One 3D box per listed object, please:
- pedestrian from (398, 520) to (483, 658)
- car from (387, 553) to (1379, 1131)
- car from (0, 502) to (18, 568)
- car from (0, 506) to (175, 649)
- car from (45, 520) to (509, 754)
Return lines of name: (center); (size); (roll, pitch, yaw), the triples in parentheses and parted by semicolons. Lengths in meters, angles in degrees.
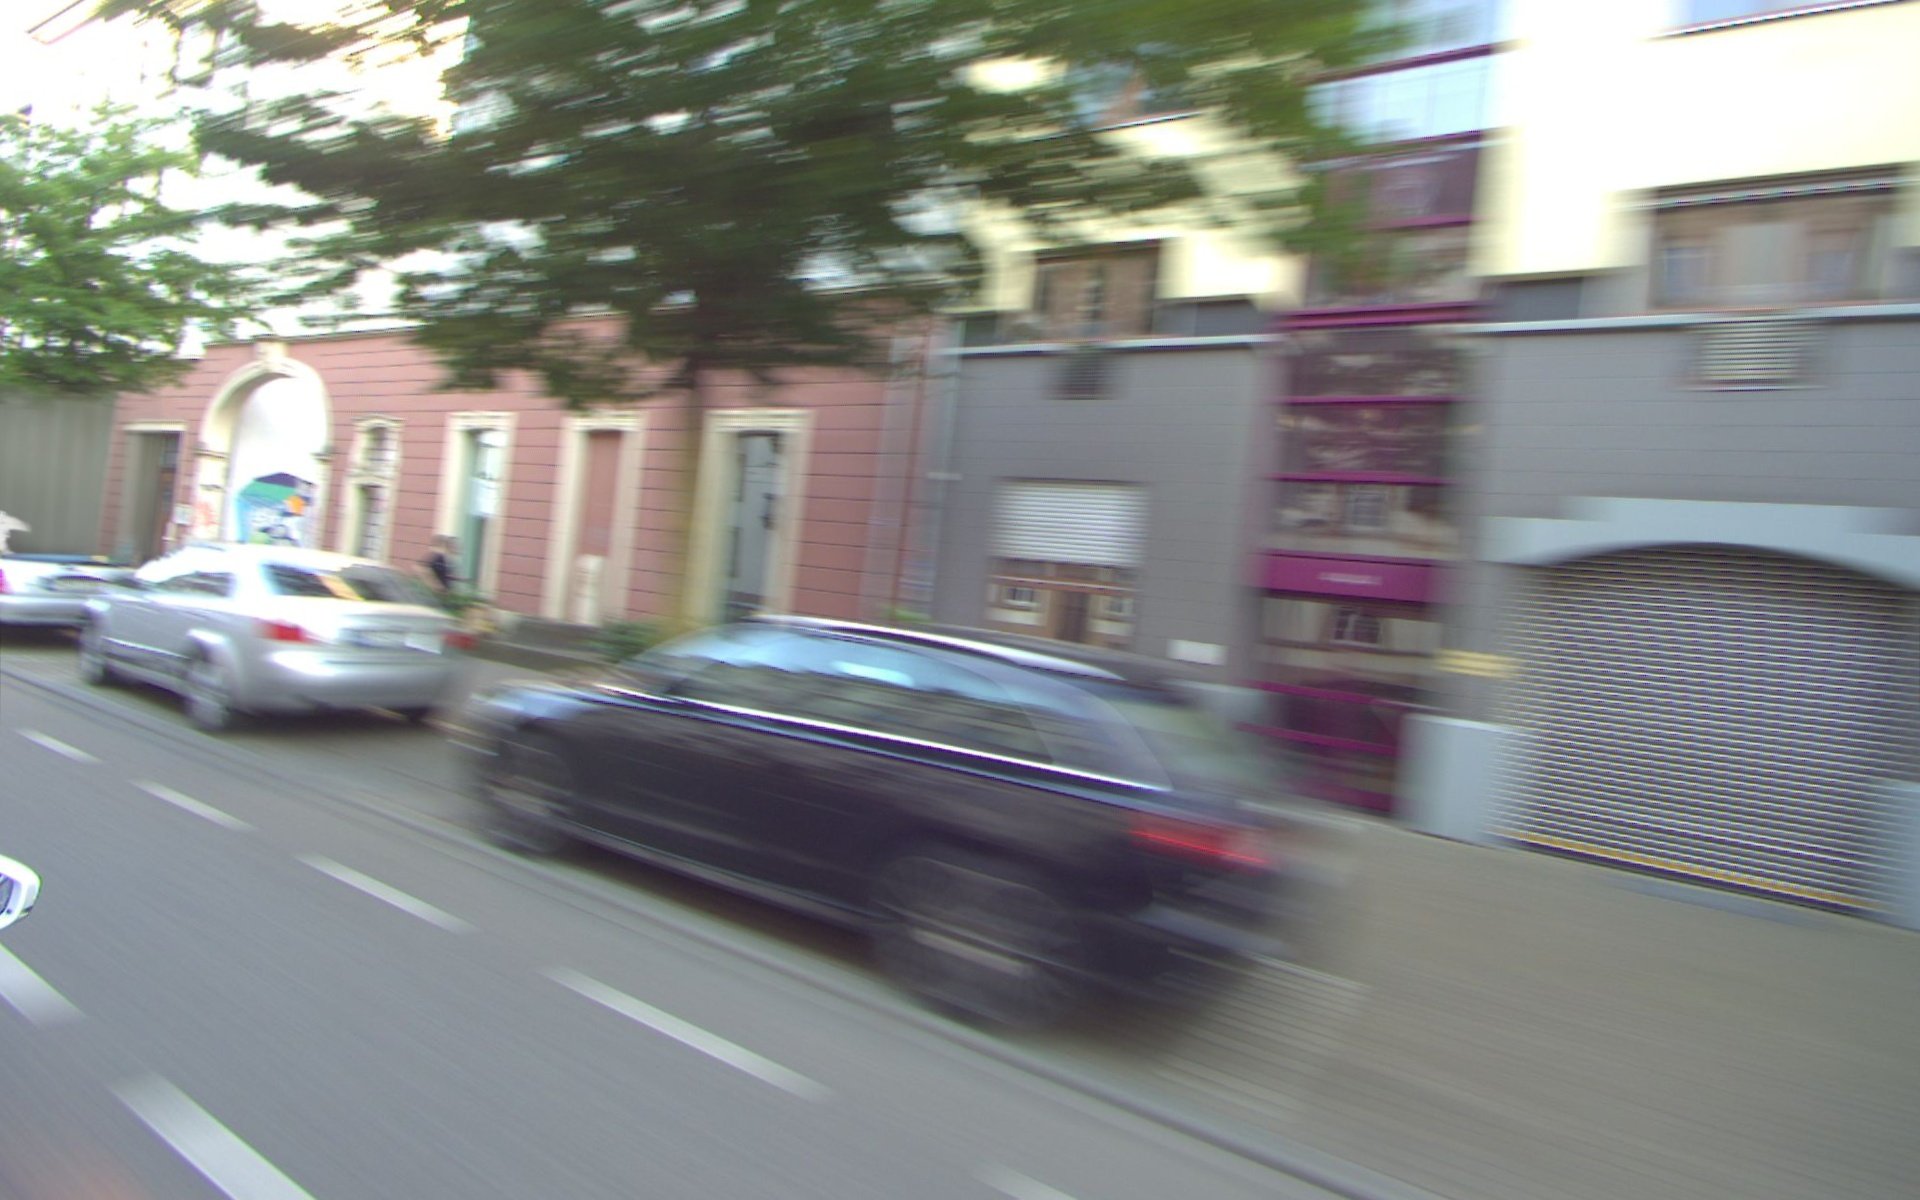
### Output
pedestrian: (-7.337, -0.146, 14.225); (0.590, 1.838, 0.681); (7, 0, 32)
car: (-0.646, 0.782, 5.366); (4.952, 1.507, 1.996); (6, 0, 32)
car: (-22.702, -1.607, 21.422); (1.589, 1.446, 3.496); (5, -1, 12)
car: (-11.042, -0.353, 11.816); (3.713, 1.398, 1.620); (6, 1, 32)
car: (-6.228, 0.210, 8.981); (4.615, 1.398, 1.781); (6, 1, 34)
